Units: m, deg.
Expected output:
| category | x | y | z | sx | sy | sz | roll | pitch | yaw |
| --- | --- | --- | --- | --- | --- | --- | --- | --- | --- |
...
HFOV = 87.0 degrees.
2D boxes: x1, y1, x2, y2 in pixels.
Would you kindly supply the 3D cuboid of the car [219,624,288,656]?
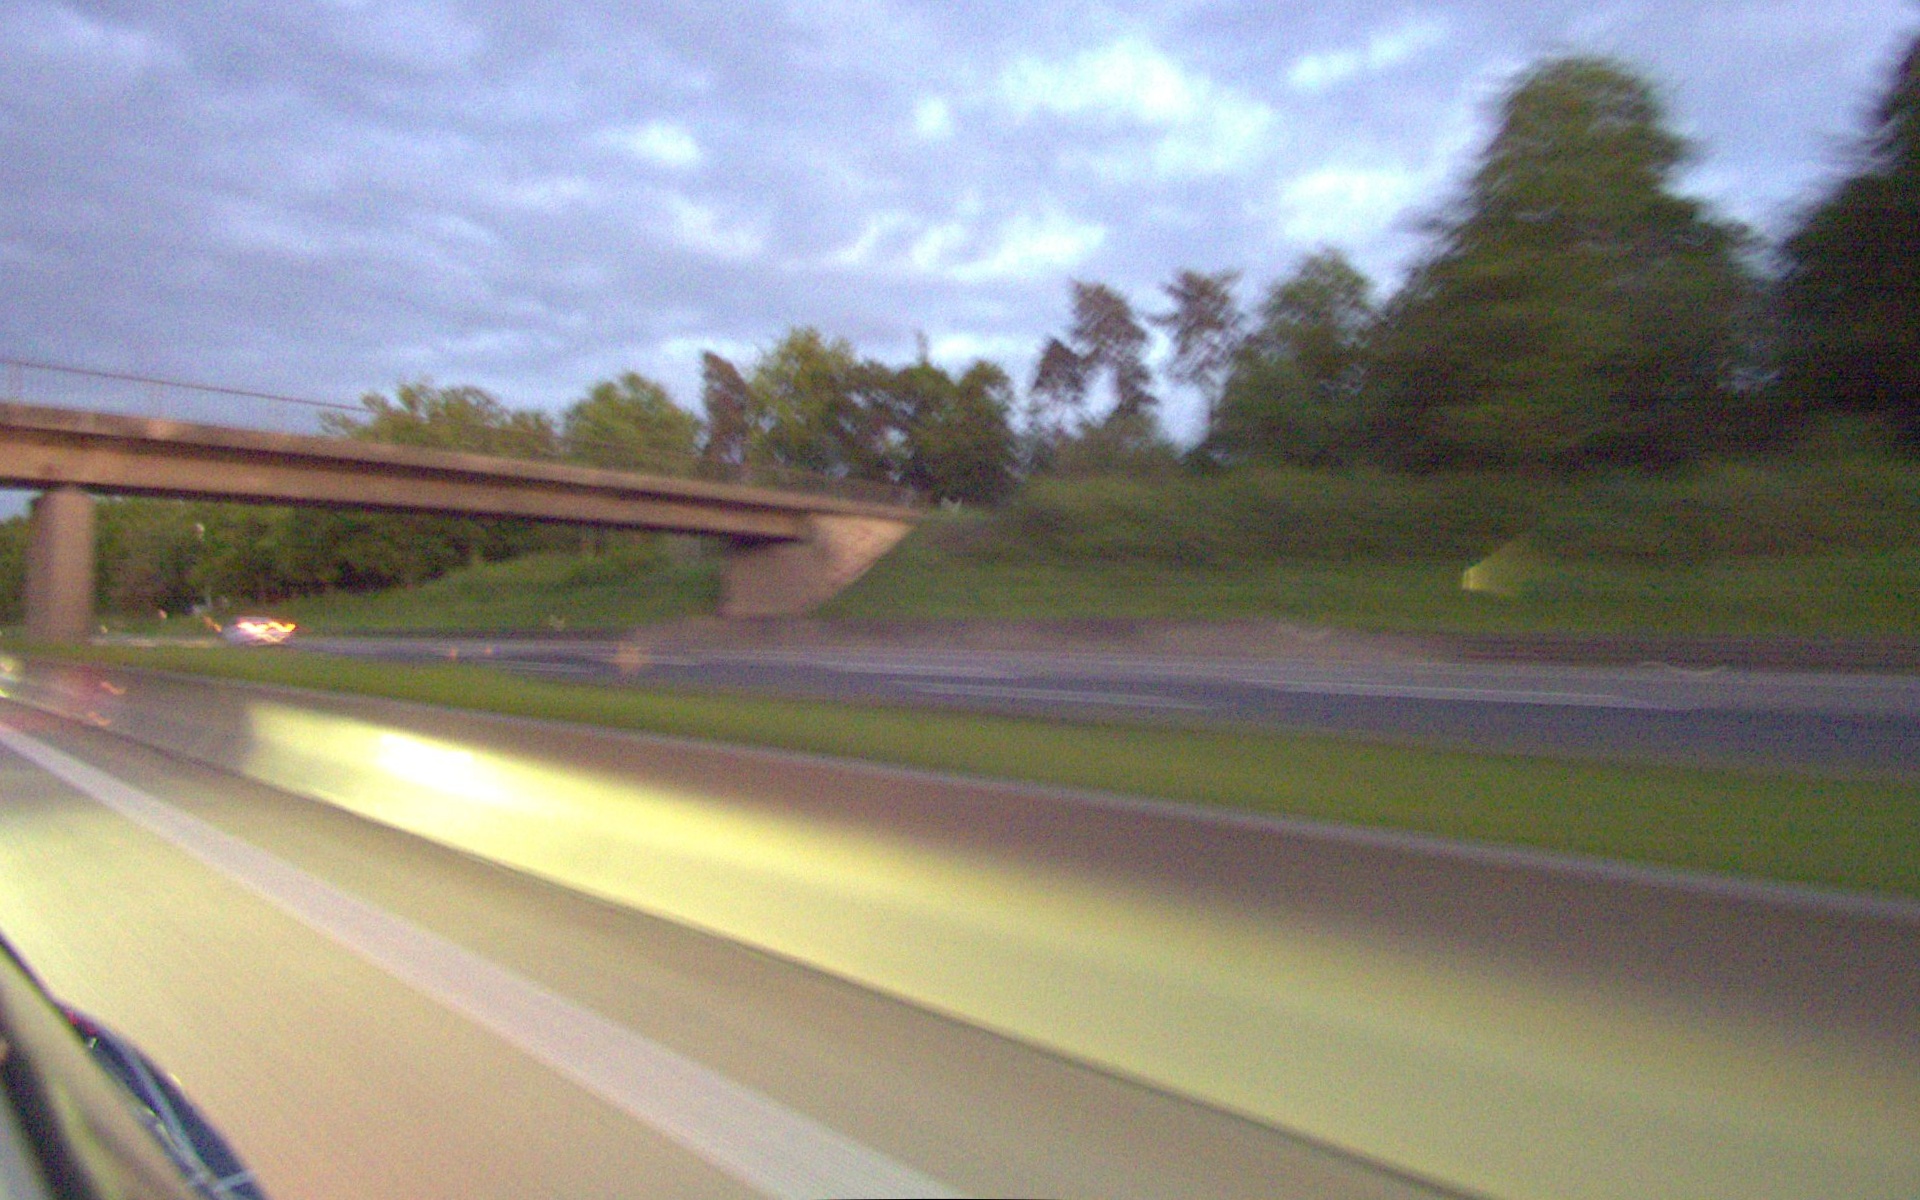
| category | x | y | z | sx | sy | sz | roll | pitch | yaw |
| --- | --- | --- | --- | --- | --- | --- | --- | --- | --- |
| car | -36.093 | 2.053 | 51.696 | 4.425 | 1.532 | 1.793 | -3 | -2 | 40 |
